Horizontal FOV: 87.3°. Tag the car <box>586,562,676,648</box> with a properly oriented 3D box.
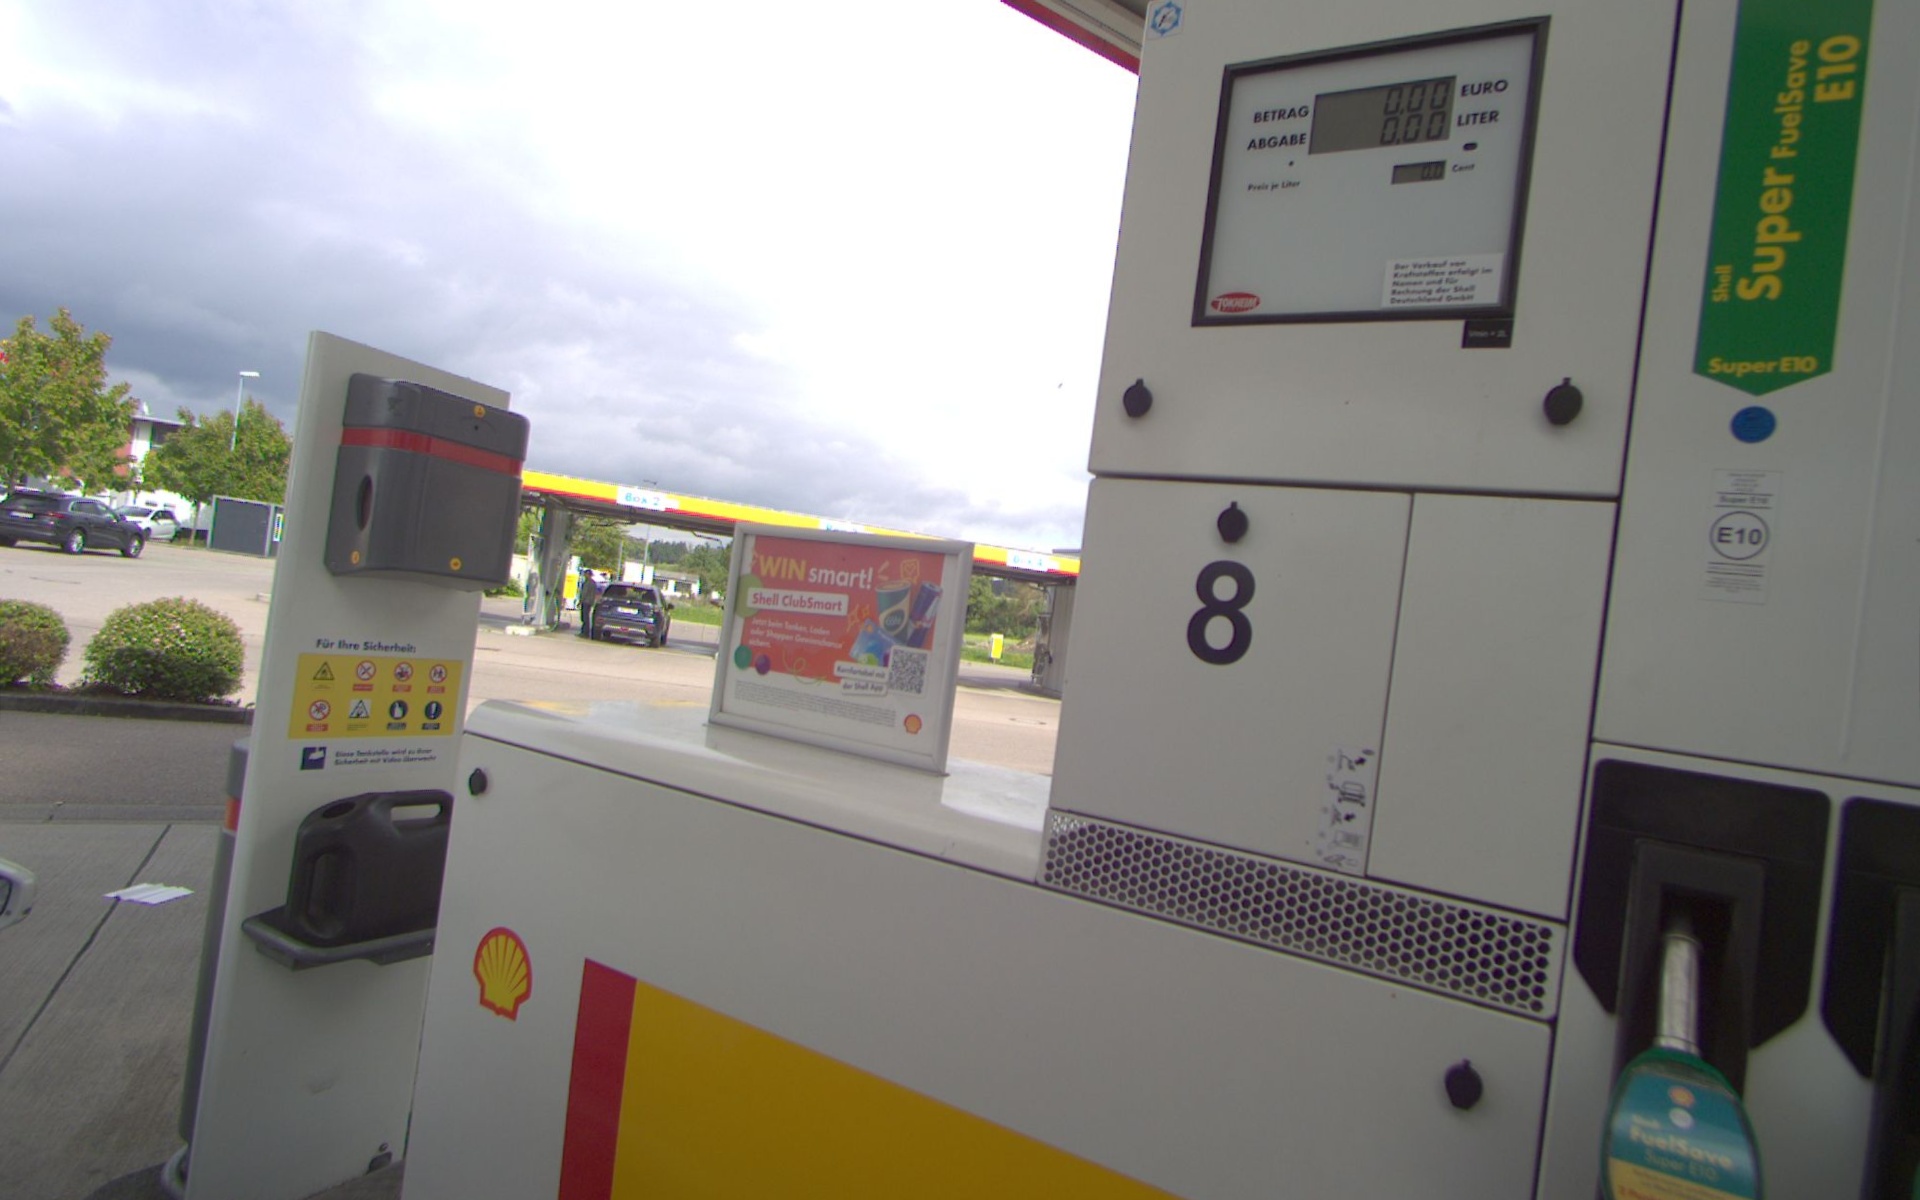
[{"bbox_3d":[-8.695,0.154,26.866,1.696,1.919,3.800,8,-2,-12],"label":"car"}]

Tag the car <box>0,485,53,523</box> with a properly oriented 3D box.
[{"bbox_3d":[-57.359,-5.895,60.244,2.149,1.854,4.870,8,-2,-11],"label":"car"}]

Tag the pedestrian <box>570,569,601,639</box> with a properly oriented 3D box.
[{"bbox_3d":[-9.722,0.100,26.090,0.550,1.742,0.526,7,-1,-21],"label":"pedestrian"}]

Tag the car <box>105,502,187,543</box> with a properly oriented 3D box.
[{"bbox_3d":[-35.257,-3.334,43.649,1.346,1.322,3.098,8,-2,-12],"label":"car"}]

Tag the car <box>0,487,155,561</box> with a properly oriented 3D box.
[{"bbox_3d":[-25.927,-2.163,29.264,1.855,1.566,4.498,8,-2,-10],"label":"car"}]

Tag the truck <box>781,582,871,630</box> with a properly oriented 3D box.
[{"bbox_3d":[-13.016,0.569,97.510,7.978,3.575,2.687,8,-2,-19],"label":"truck"}]
